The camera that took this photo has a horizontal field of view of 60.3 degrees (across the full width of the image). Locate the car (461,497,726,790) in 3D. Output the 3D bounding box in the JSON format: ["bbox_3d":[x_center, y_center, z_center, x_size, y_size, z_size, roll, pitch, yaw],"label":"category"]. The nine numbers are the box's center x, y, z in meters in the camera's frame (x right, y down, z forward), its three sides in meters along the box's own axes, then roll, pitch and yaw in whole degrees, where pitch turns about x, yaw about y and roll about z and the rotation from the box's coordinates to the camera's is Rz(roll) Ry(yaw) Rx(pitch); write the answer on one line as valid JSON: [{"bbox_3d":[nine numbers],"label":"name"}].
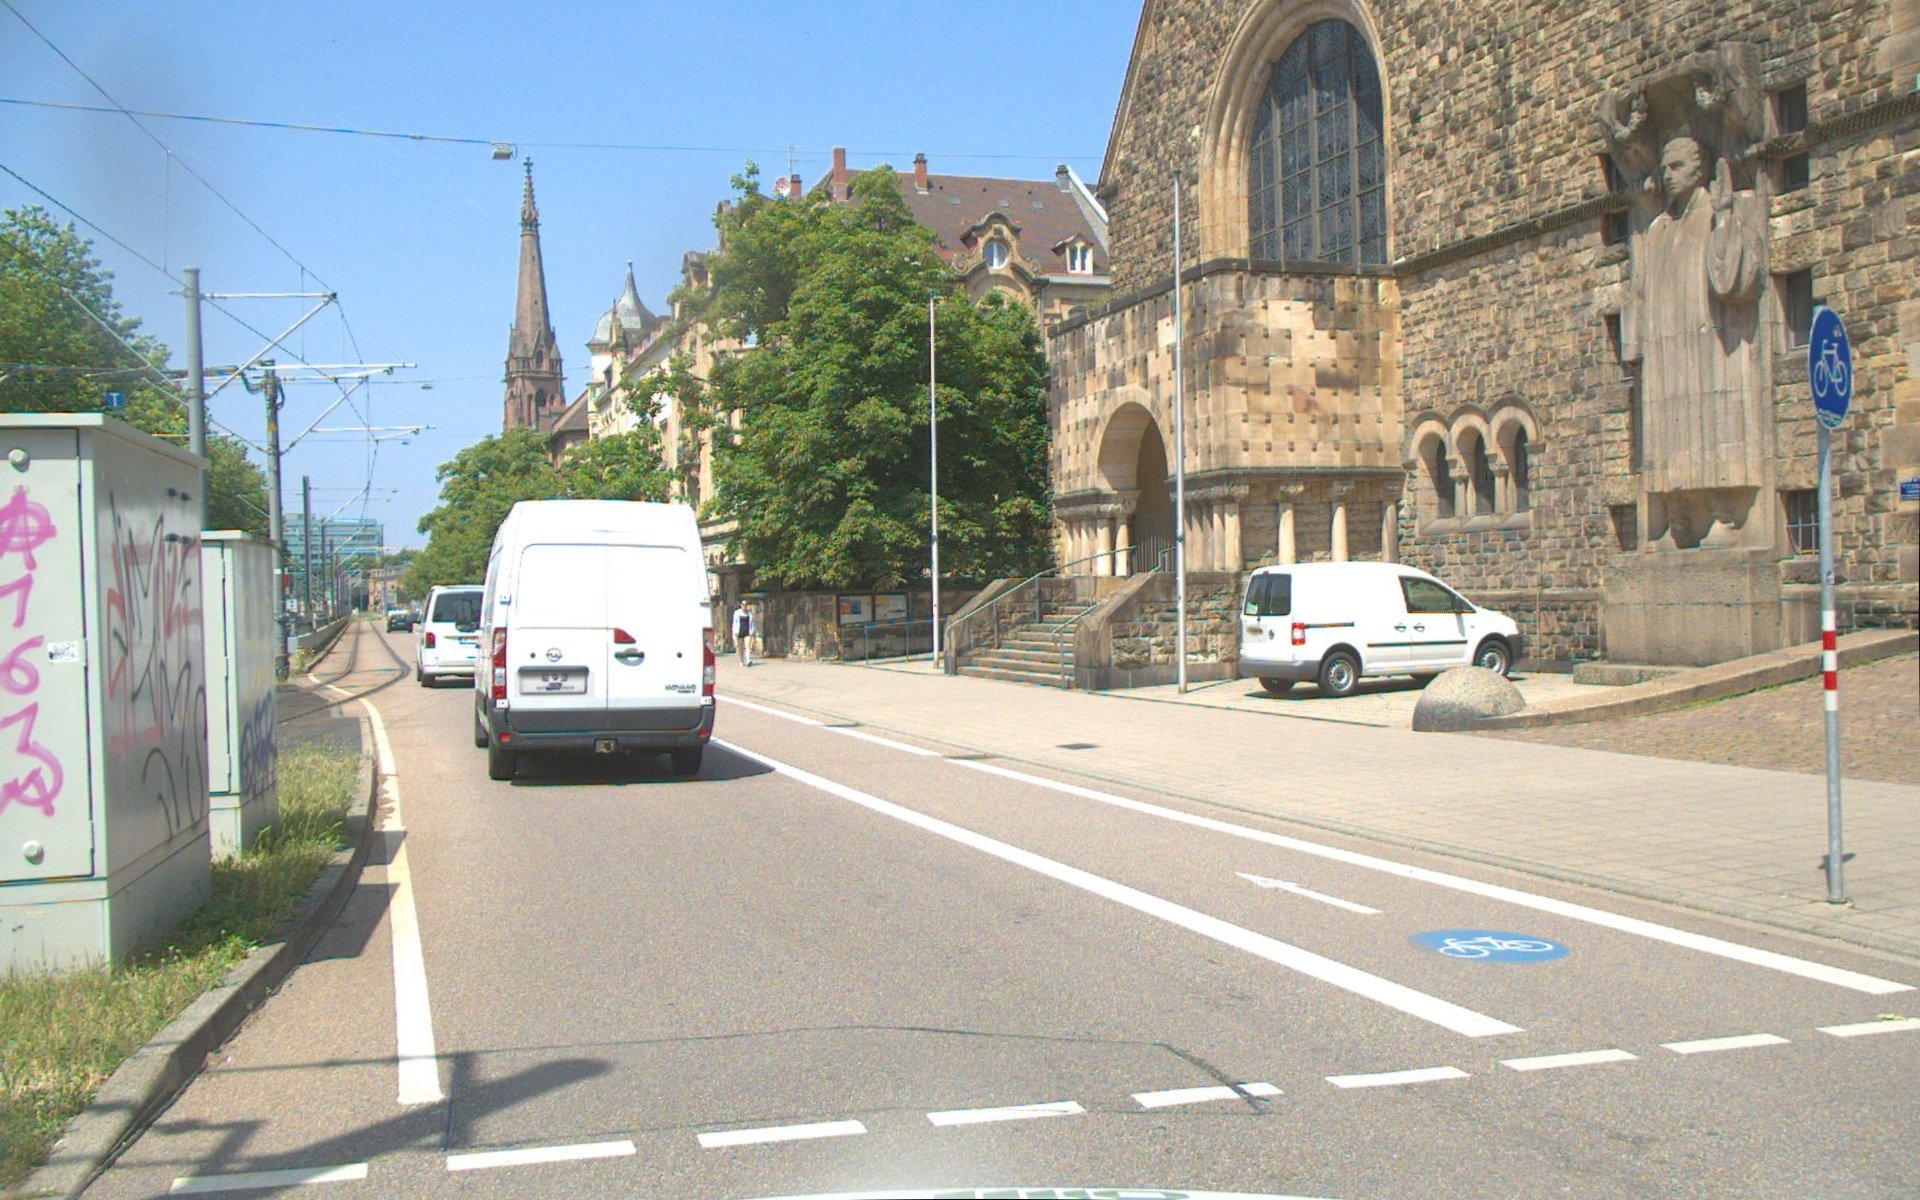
[{"bbox_3d":[-3.900,0.372,16.868,2.085,2.502,5.026,-1,0,-19],"label":"car"}]

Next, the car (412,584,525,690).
[{"bbox_3d":[-10.091,0.712,33.748,1.889,1.978,4.237,-1,0,-21],"label":"car"}]

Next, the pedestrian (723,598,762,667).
[{"bbox_3d":[-5.406,0.792,41.045,0.782,1.679,0.961,-1,0,-19],"label":"pedestrian"}]

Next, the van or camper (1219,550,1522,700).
[{"bbox_3d":[5.950,0.319,24.017,3.932,1.857,1.791,-4,1,-22],"label":"van or camper"}]

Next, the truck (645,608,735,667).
[{"bbox_3d":[-7.788,1.036,47.423,1.763,1.553,4.439,-1,0,-20],"label":"truck"}]

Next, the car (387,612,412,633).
[{"bbox_3d":[-43.236,1.735,127.604,1.724,1.566,3.736,-1,0,-20],"label":"car"}]

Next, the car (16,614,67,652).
[{"bbox_3d":[-49.934,1.778,89.982,1.968,1.938,4.682,-1,0,-24],"label":"car"}]
